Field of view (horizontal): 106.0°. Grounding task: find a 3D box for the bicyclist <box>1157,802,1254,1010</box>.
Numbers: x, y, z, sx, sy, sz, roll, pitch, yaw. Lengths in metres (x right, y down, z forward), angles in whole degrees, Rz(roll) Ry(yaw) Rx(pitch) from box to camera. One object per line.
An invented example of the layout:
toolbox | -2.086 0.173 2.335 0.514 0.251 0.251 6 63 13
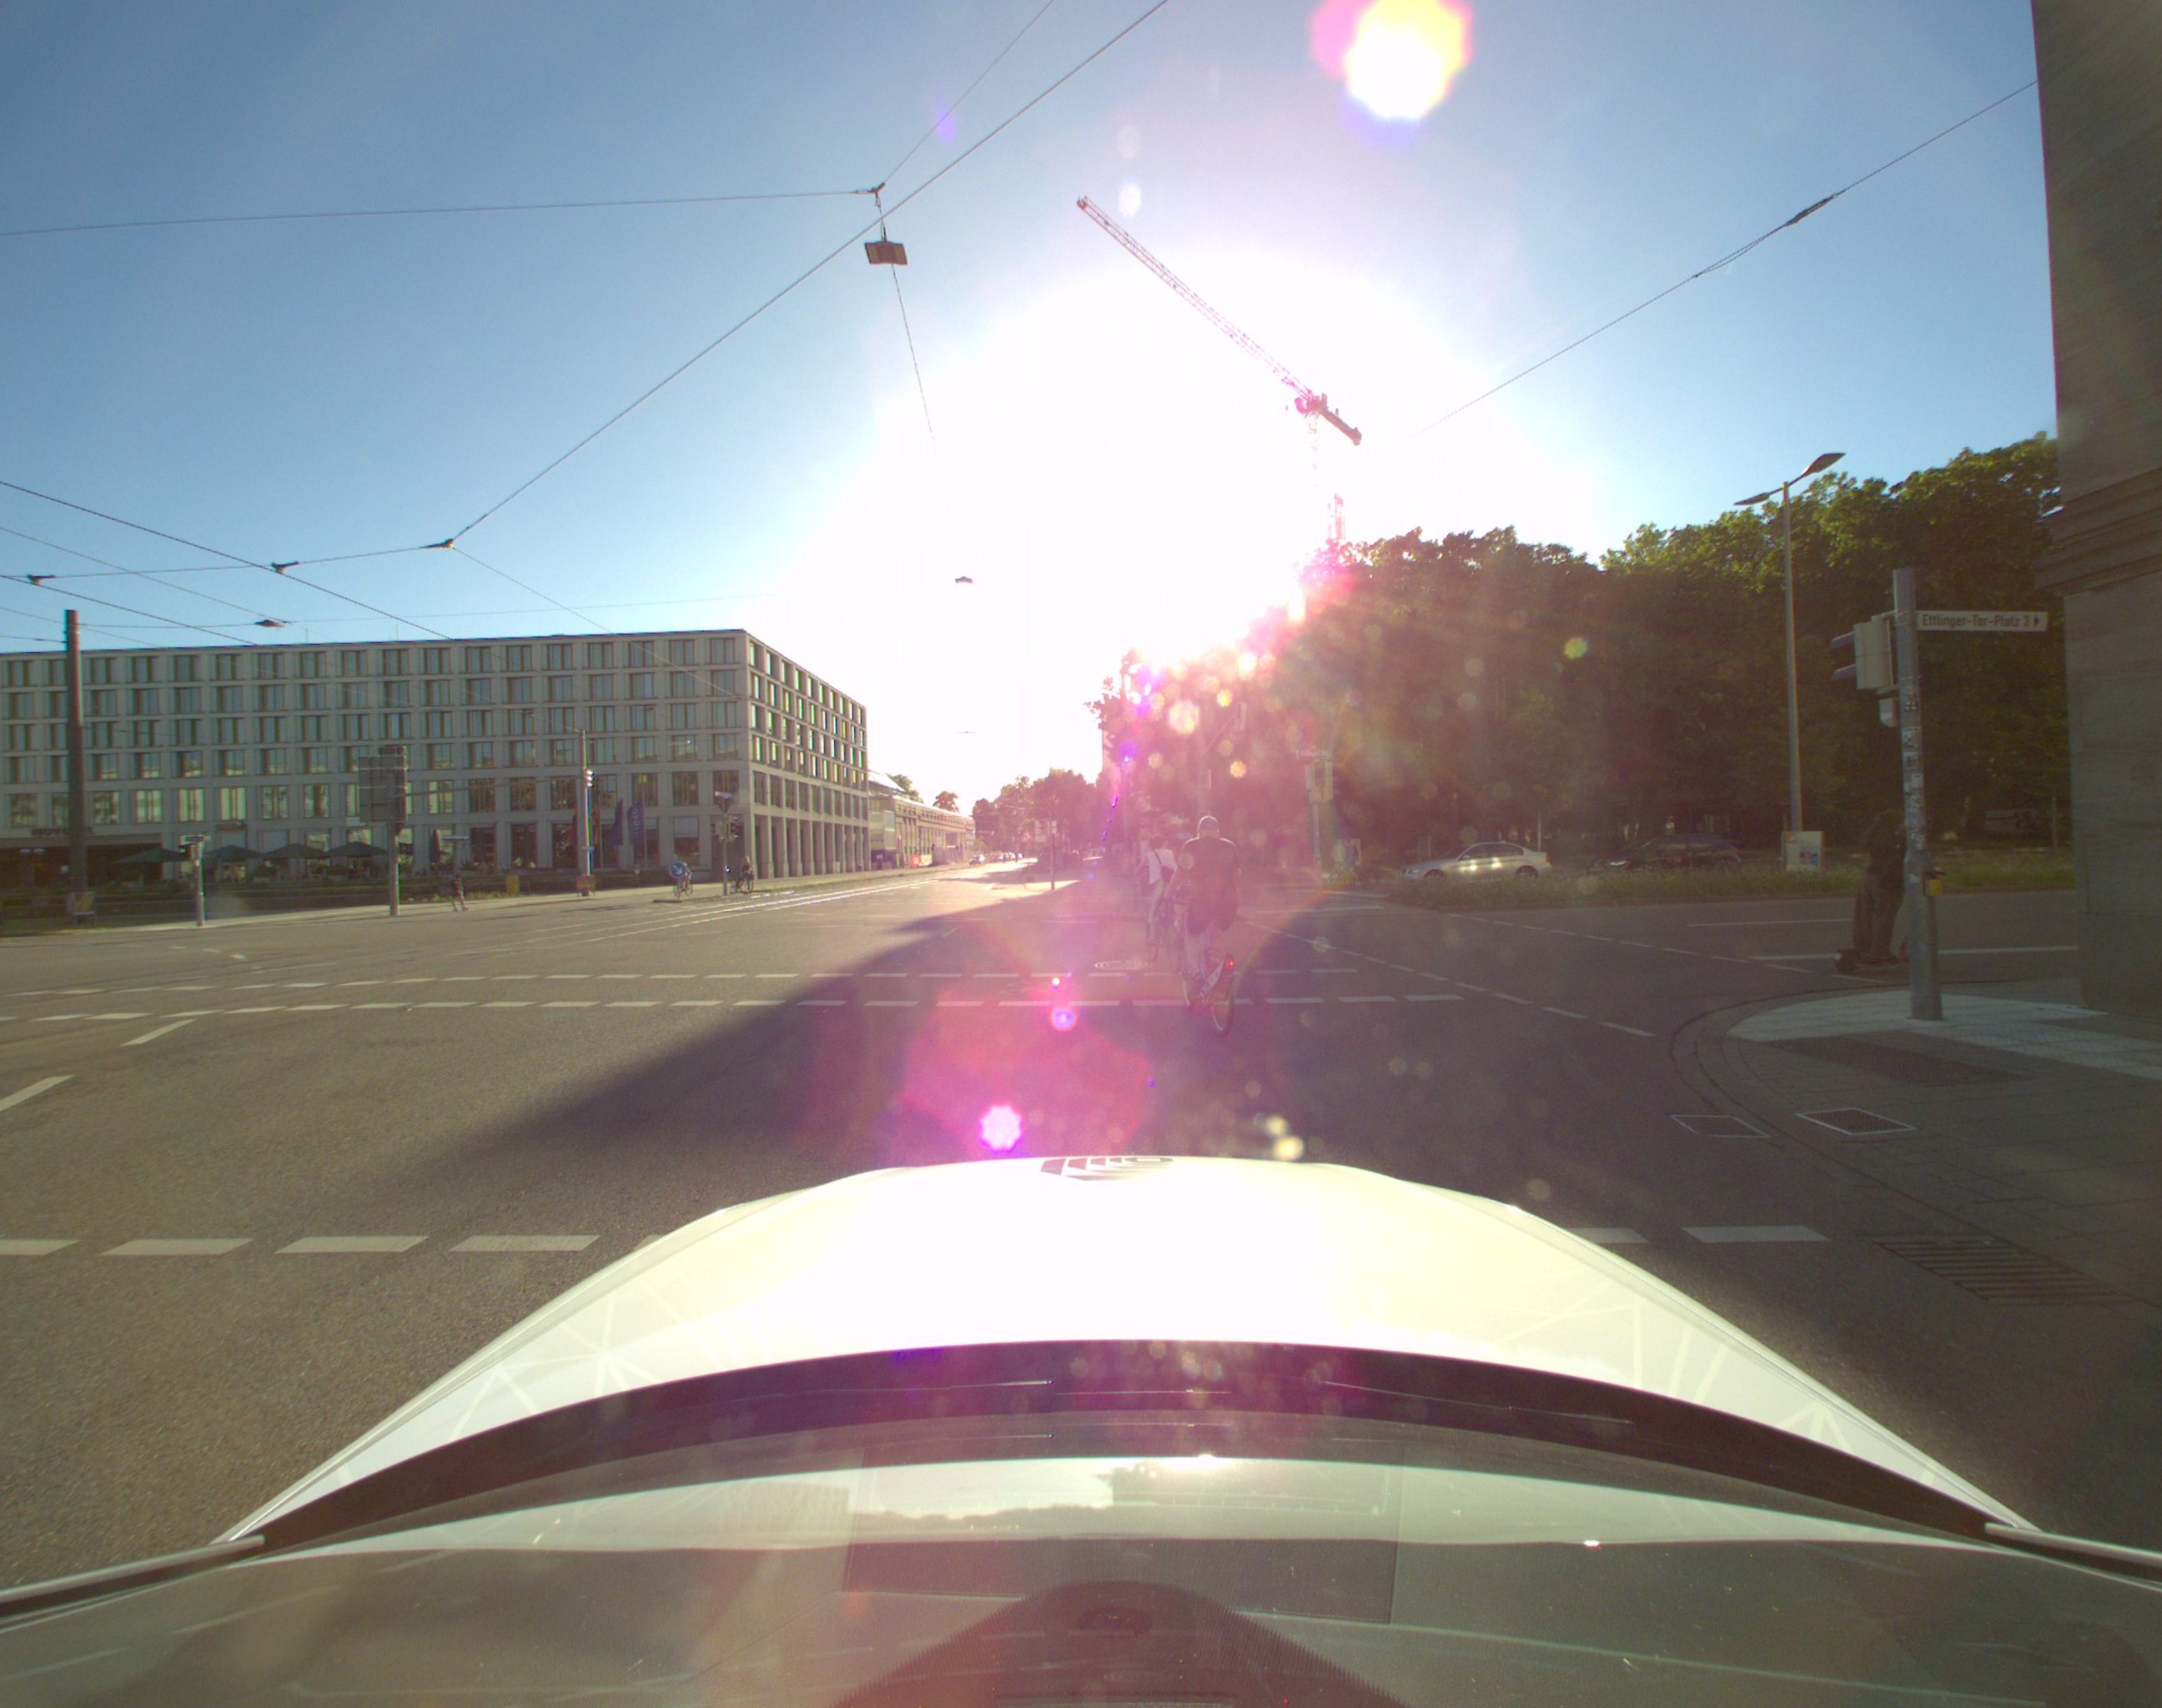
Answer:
bicyclist | 1.087 0.440 7.264 0.749 1.743 0.839 0 -1 1

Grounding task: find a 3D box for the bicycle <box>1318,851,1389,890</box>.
bicycle | 9.339 0.553 27.987 2.224 1.240 0.781 -2 -1 16

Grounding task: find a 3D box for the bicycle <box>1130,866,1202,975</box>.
bicycle | 1.065 0.801 10.740 0.773 1.240 2.313 0 0 2

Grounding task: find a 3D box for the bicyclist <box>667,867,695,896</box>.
bicyclist | -19.906 1.347 40.557 0.821 1.362 0.973 -2 0 1

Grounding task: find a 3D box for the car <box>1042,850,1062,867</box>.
car | -2.689 0.428 75.083 1.692 1.428 3.999 -2 0 -1

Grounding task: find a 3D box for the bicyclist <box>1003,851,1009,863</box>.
bicyclist | -11.298 0.484 122.594 0.633 1.853 0.784 -2 0 1

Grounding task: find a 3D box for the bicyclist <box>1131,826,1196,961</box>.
bicyclist | 1.059 0.500 10.680 0.770 1.690 0.925 0 -1 1

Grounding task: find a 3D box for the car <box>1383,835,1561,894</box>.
car | 11.998 0.312 25.202 4.517 1.560 2.001 -2 0 1

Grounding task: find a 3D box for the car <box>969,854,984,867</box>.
car | -17.589 1.104 136.813 1.988 1.969 3.999 -2 0 -1

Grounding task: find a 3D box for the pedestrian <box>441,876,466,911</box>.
pedestrian | -28.618 1.788 37.135 0.600 1.525 0.623 -2 0 -3

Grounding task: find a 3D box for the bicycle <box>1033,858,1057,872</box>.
bicycle | -2.622 0.798 59.202 1.599 0.889 0.768 -2 0 -7

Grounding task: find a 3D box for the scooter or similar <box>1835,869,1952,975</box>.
scooter or similar | 8.821 0.706 8.841 1.120 1.031 0.552 -2 0 -27

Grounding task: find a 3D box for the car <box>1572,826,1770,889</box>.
car | 17.799 0.111 24.760 4.517 1.675 2.001 -2 0 1

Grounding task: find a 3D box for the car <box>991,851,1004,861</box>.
car | -15.530 0.372 152.111 1.988 1.640 3.998 -2 0 -1

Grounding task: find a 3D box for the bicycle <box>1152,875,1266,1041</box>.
bicycle | 1.088 0.841 7.379 0.773 1.240 2.022 0 0 2

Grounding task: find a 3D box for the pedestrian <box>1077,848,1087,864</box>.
pedestrian | 0.110 0.220 89.641 0.784 1.740 0.889 -2 0 -18

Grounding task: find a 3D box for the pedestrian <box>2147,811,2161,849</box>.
pedestrian | 47.073 -1.062 35.298 0.720 1.641 0.746 -2 0 5

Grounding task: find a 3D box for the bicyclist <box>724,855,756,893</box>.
bicyclist | -15.135 0.880 36.119 0.960 1.619 0.858 -2 0 31

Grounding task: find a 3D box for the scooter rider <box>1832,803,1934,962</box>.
scooter rider | 8.626 0.283 8.762 0.651 1.632 0.558 -2 0 -26

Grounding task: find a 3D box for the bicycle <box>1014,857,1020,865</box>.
bicycle | -9.199 1.015 117.384 0.658 1.156 1.809 -2 0 2

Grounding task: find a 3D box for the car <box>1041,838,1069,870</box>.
car | -2.515 -0.014 81.423 2.584 2.952 5.087 -2 0 -1

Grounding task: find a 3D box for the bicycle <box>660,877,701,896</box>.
bicycle | -19.902 1.606 40.530 0.837 0.851 2.337 -2 0 2

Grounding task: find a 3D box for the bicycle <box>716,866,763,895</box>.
bicycle | -15.159 1.169 36.142 1.988 1.230 0.852 -2 0 31

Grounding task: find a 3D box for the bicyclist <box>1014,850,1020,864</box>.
bicyclist | -9.229 0.429 117.468 0.661 1.853 0.784 -2 0 1

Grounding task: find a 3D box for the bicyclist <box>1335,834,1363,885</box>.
bicyclist | 9.210 0.188 28.024 0.829 1.679 0.787 -2 -1 16
